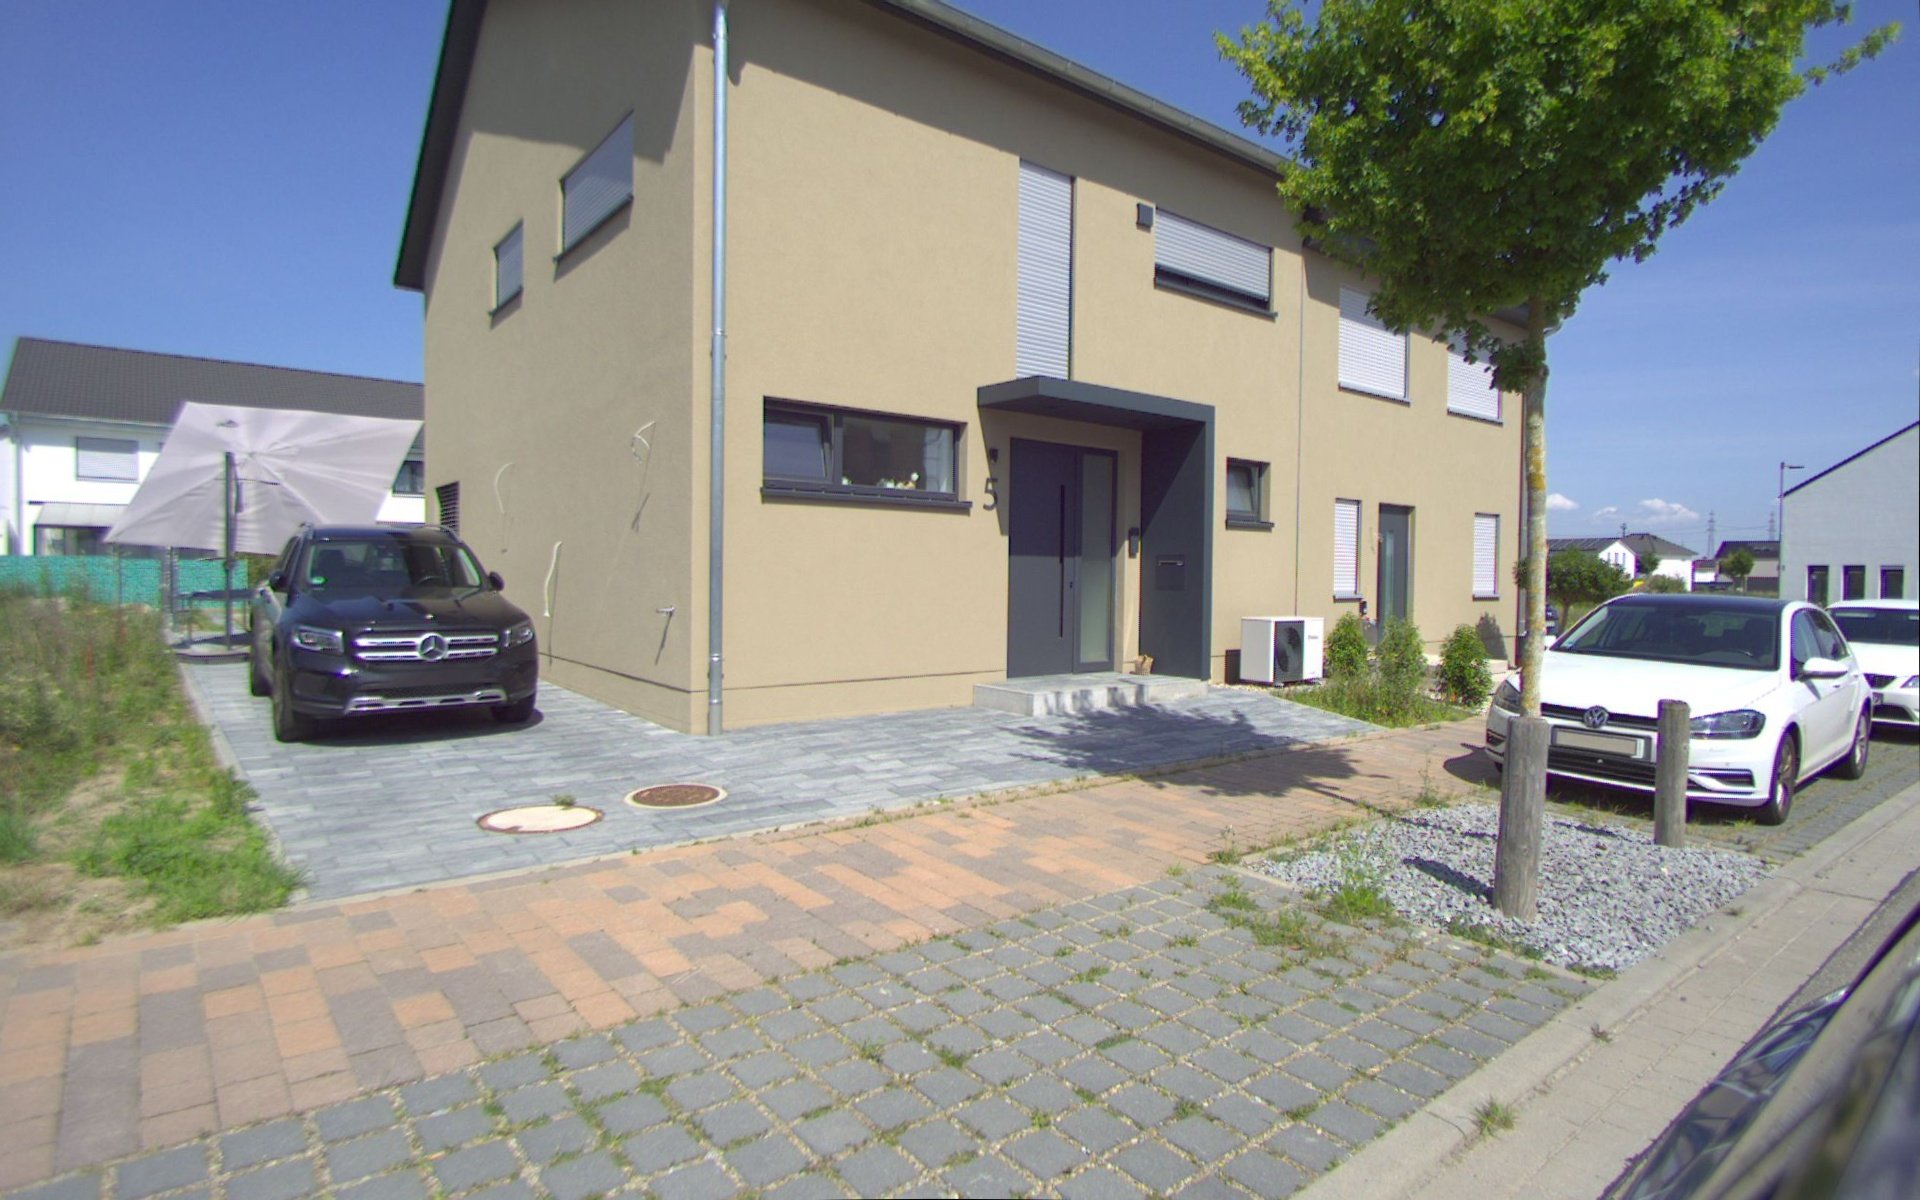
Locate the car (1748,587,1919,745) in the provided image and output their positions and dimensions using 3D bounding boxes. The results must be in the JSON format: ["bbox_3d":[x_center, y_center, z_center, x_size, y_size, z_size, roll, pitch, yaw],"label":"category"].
[{"bbox_3d":[10.870,0.645,11.576,4.480,1.473,1.820,0,3,-38],"label":"car"}]

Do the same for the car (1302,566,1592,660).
[{"bbox_3d":[9.671,0.167,20.525,1.962,1.443,4.906,0,4,-35],"label":"car"}]

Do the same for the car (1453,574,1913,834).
[{"bbox_3d":[5.829,0.599,7.946,4.432,1.443,1.784,1,3,-39],"label":"car"}]

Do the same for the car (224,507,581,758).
[{"bbox_3d":[-5.258,0.089,9.168,1.965,1.664,4.757,-1,3,-40],"label":"car"}]
